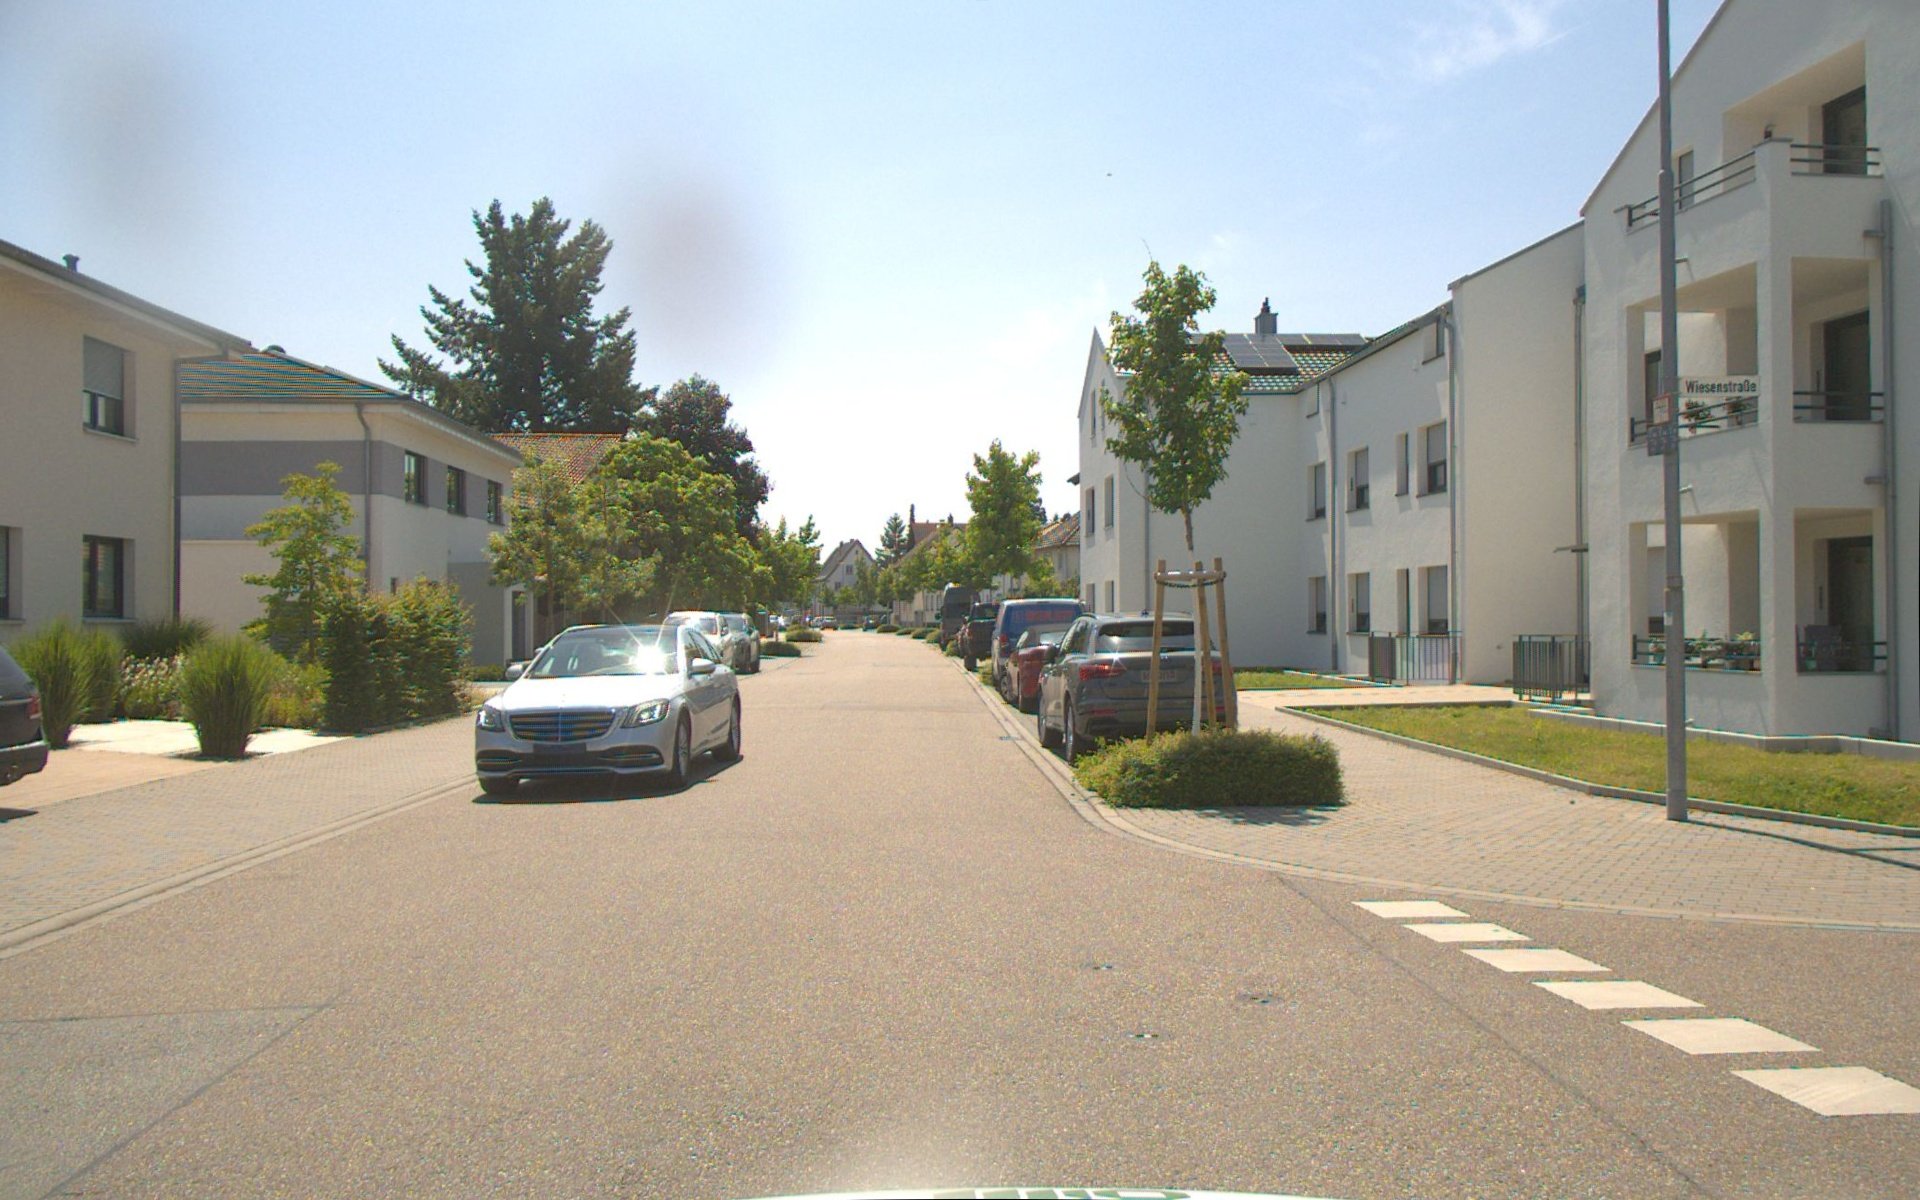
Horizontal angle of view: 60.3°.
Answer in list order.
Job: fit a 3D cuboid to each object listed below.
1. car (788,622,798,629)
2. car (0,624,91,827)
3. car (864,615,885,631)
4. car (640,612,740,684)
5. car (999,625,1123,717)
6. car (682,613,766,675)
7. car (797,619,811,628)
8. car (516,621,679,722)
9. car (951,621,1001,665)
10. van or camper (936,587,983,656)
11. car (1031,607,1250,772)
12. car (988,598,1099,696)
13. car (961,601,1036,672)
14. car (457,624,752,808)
[{"bbox_3d":[-23.999,3.654,237.129,1.167,1.089,3.045,0,-1,-11],"label":"car"},{"bbox_3d":[-9.388,0.860,12.748,4.337,1.499,1.851,3,-1,2],"label":"car"},{"bbox_3d":[-8.674,2.327,168.442,1.953,1.601,3.998,-1,-1,-2],"label":"car"},{"bbox_3d":[-6.780,1.178,41.987,1.888,1.716,4.496,0,-1,-1],"label":"car"},{"bbox_3d":[1.679,1.176,28.777,1.646,1.467,4.023,0,-1,-4],"label":"car"},{"bbox_3d":[-6.847,1.246,48.392,1.953,1.710,4.213,0,-1,-1],"label":"car"},{"bbox_3d":[-21.543,3.212,228.504,1.633,1.272,3.921,-1,-1,-11],"label":"car"},{"bbox_3d":[-5.871,1.108,27.291,1.814,1.514,4.383,0,-1,-1],"label":"car"},{"bbox_3d":[0.607,1.628,63.910,1.637,1.623,3.553,-1,-1,-4],"label":"car"},{"bbox_3d":[-0.035,0.954,74.439,1.953,2.993,3.998,-1,-1,-2],"label":"van or camper"},{"bbox_3d":[1.915,0.924,18.797,1.738,1.623,4.275,-1,-1,-4],"label":"car"},{"bbox_3d":[1.706,0.962,35.307,2.056,1.915,4.841,-1,-1,-1],"label":"car"},{"bbox_3d":[1.107,1.065,49.657,1.953,1.981,5.212,-2,-1,-1],"label":"car"},{"bbox_3d":[-3.336,1.024,16.495,1.814,1.504,4.700,-2,-1,1],"label":"car"}]
